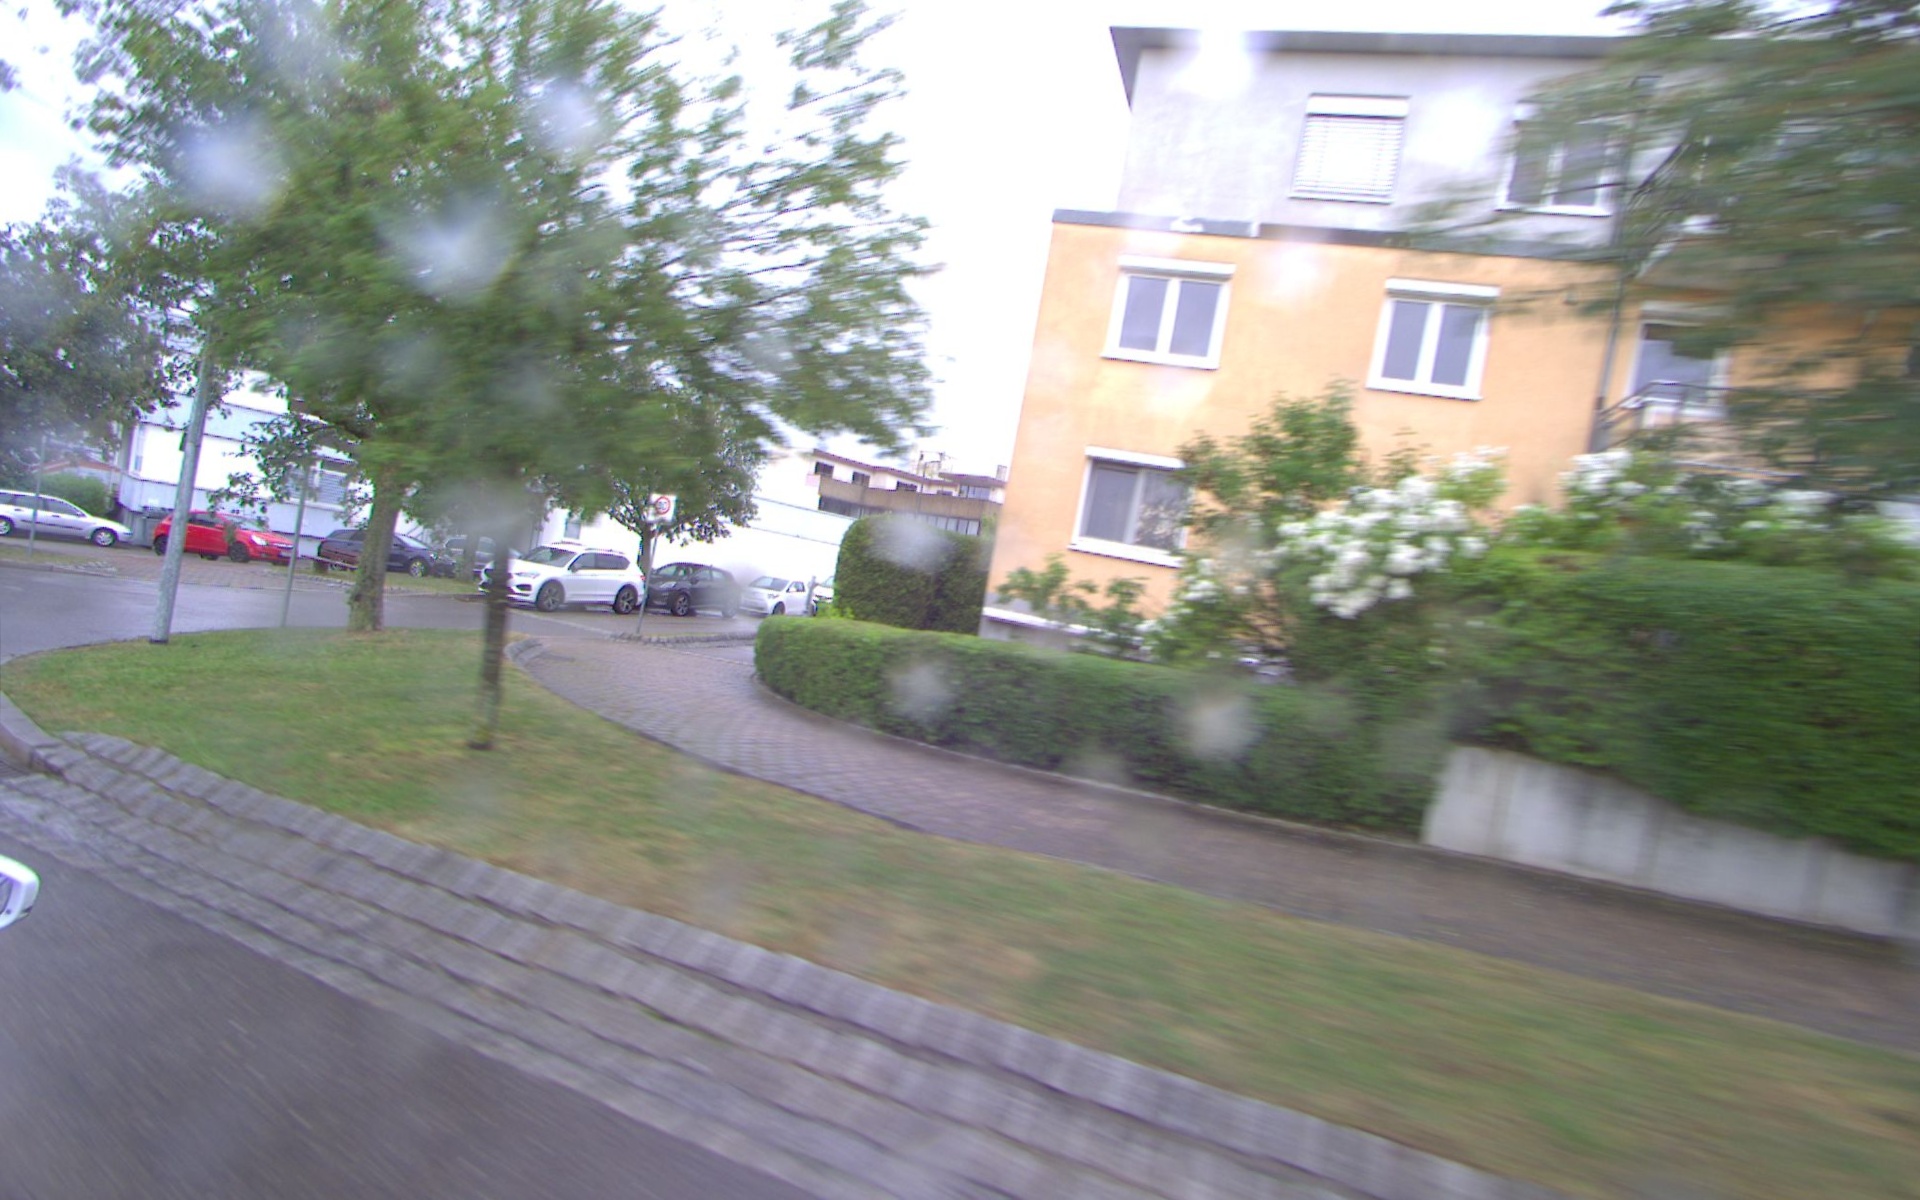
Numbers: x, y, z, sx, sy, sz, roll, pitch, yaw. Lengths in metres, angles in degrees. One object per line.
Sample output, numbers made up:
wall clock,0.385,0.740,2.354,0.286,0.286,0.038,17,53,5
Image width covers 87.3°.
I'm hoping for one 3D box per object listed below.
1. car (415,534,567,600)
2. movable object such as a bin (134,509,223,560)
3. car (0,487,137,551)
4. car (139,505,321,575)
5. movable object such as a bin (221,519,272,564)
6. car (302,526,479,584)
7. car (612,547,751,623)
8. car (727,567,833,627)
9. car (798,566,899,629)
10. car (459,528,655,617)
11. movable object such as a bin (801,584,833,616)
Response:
car,-16.619,-1.157,35.776,4.375,1.818,1.861,5,-3,2
movable object such as a bin,-28.613,-2.389,36.846,1.710,1.522,2.261,7,1,43
car,-30.443,-2.749,33.547,1.832,1.603,4.309,6,-2,40
car,-21.943,-1.788,30.323,4.243,1.604,1.860,5,-1,8
movable object such as a bin,-27.299,-2.235,38.495,1.015,1.514,1.302,7,1,43
car,-18.548,-1.461,32.908,4.738,1.604,1.860,2,-1,3
car,-8.413,-0.399,30.757,1.919,1.753,4.021,9,-1,20
car,-6.334,-0.054,35.866,1.801,1.688,3.831,7,-1,22
car,-4.385,-0.056,40.370,1.896,1.951,4.423,9,-1,22
car,-10.274,-0.626,26.109,1.911,1.837,4.712,7,0,21
movable object such as a bin,-8.400,-0.001,59.202,0.536,1.682,1.735,6,-1,44
